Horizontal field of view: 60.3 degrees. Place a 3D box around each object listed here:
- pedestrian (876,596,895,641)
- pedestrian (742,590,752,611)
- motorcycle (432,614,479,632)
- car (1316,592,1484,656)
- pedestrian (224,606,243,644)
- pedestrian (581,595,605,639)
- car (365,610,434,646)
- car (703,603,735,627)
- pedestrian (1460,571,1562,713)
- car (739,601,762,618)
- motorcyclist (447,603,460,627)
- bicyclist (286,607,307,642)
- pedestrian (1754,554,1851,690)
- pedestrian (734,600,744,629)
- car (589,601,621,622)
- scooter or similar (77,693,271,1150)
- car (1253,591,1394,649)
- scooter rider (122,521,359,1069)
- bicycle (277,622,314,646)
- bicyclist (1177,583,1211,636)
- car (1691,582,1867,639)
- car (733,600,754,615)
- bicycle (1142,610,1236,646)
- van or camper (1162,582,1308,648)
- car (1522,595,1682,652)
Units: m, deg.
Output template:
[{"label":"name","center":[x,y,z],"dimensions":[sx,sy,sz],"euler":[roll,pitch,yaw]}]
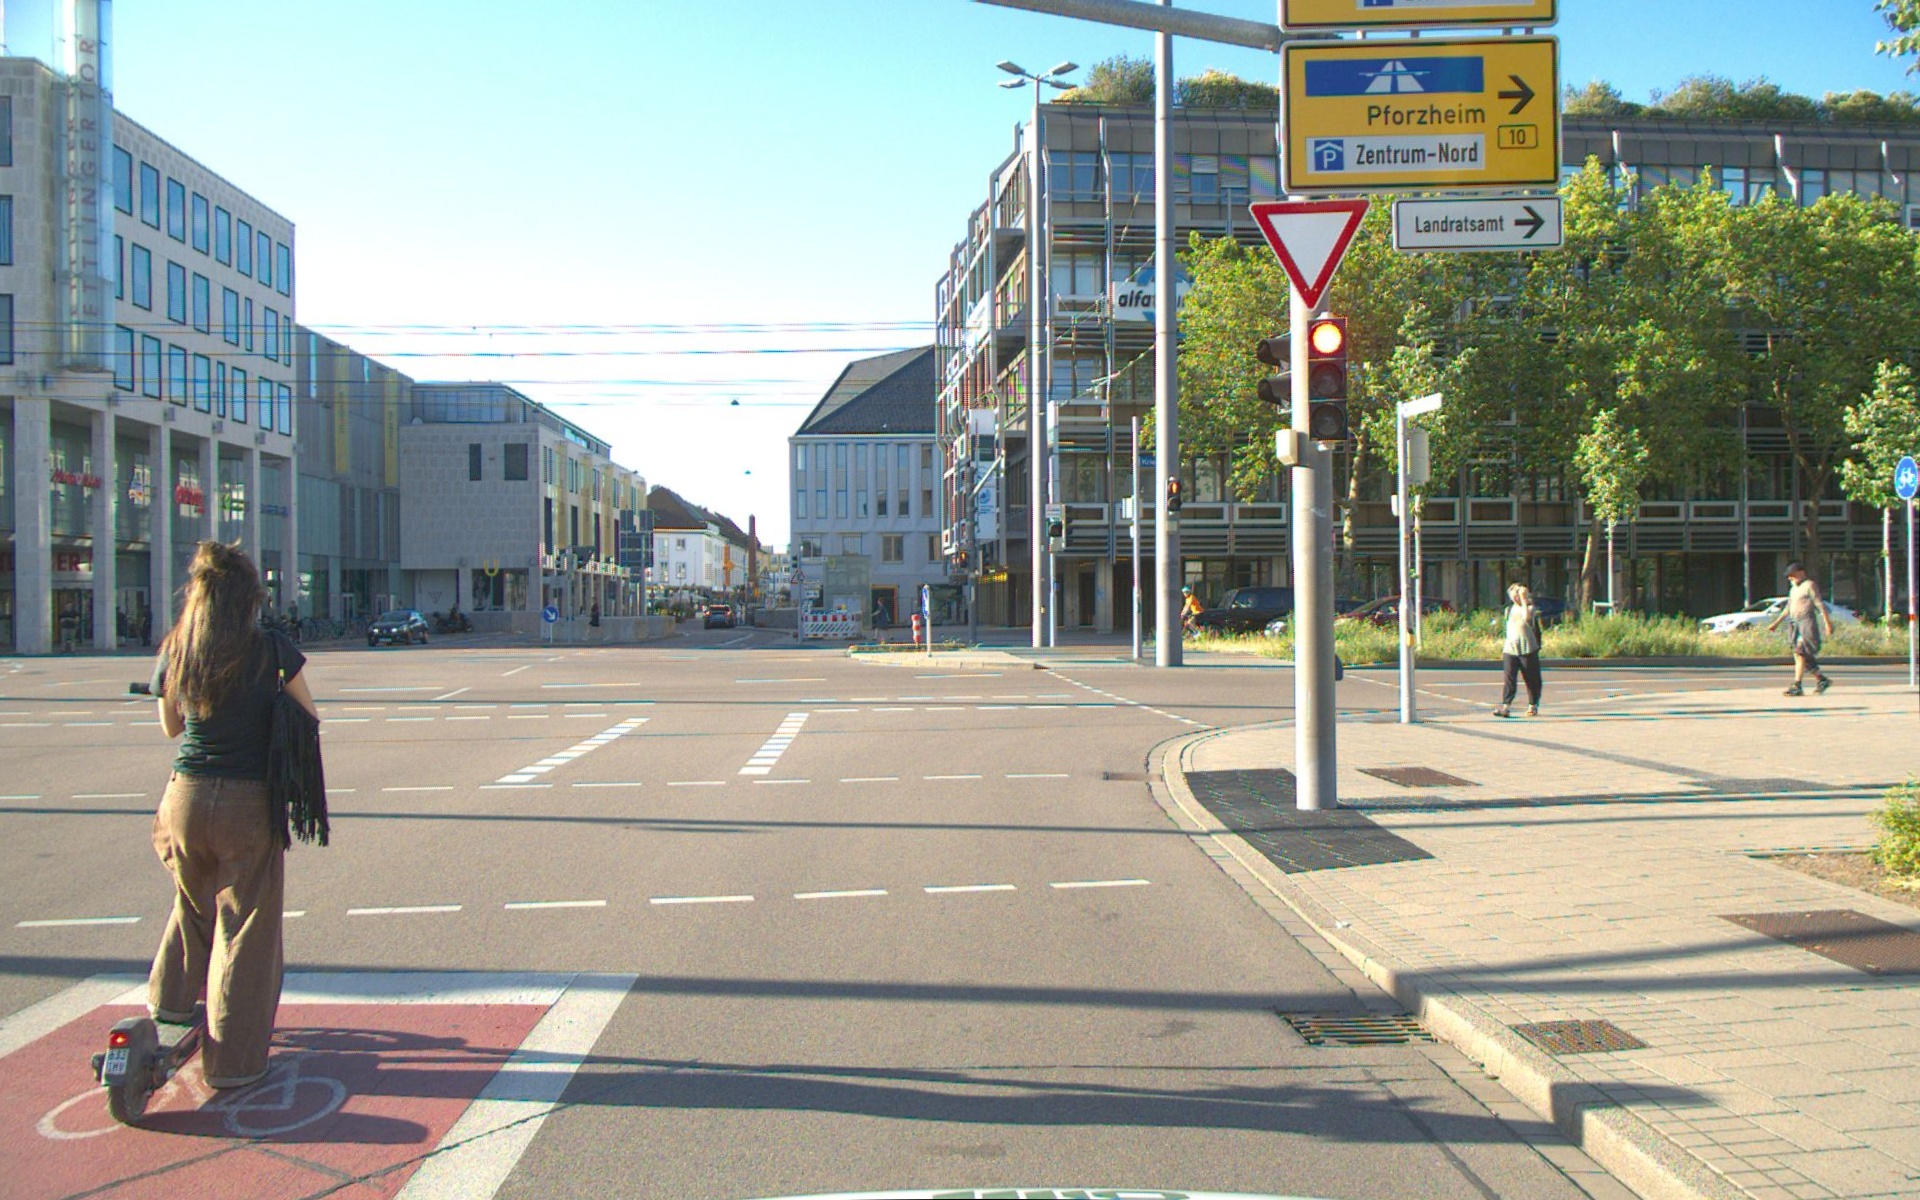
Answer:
[{"label":"pedestrian","center":[-2.893,0.712,64.468],"dimensions":[0.685,1.718,0.619],"euler":[-1,0,0]},{"label":"pedestrian","center":[-21.147,0.047,164.364],"dimensions":[0.892,1.999,0.822],"euler":[1,-1,-1]},{"label":"motorcycle","center":[-29.795,1.344,97.710],"dimensions":[2.555,1.010,1.113],"euler":[1,0,-10]},{"label":"car","center":[12.376,0.644,46.603],"dimensions":[4.212,1.713,1.820],"euler":[-1,0,-11]},{"label":"pedestrian","center":[-32.690,1.119,74.451],"dimensions":[0.580,1.674,0.629],"euler":[-1,0,-1]},{"label":"pedestrian","center":[-14.151,0.641,63.780],"dimensions":[0.760,1.667,0.626],"euler":[-1,0,2]},{"label":"car","center":[-23.501,1.148,69.463],"dimensions":[1.642,1.381,4.019],"euler":[-1,0,-2]},{"label":"car","center":[-15.695,0.960,107.825],"dimensions":[1.625,1.484,3.541],"euler":[-1,0,-1]},{"label":"pedestrian","center":[6.558,0.483,19.686],"dimensions":[0.860,1.642,0.762],"euler":[-1,0,-25]},{"label":"car","center":[-18.401,0.836,145.551],"dimensions":[1.625,1.484,3.541],"euler":[-1,0,-1]},{"label":"motorcyclist","center":[-29.972,0.890,97.903],"dimensions":[0.616,1.430,0.661],"euler":[1,-1,-9]},{"label":"bicyclist","center":[-27.630,1.020,68.884],"dimensions":[0.613,1.473,0.589],"euler":[-1,0,0]},{"label":"pedestrian","center":[11.021,0.278,21.659],"dimensions":[0.854,1.736,0.768],"euler":[-1,0,-3]},{"label":"pedestrian","center":[-13.293,0.878,99.504],"dimensions":[0.481,1.693,0.529],"euler":[1,-1,-15]},{"label":"car","center":[-26.115,0.845,121.814],"dimensions":[1.625,1.484,3.541],"euler":[-1,0,-1]},{"label":"scooter or similar","center":[-2.217,0.857,4.719],"dimensions":[0.301,1.127,0.836],"euler":[-1,0,-12]},{"label":"car","center":[11.147,0.589,50.856],"dimensions":[3.907,1.713,1.761],"euler":[-1,0,-2]},{"label":"scooter rider","center":[-2.144,0.552,4.972],"dimensions":[0.542,1.556,0.448],"euler":[-1,0,-9]},{"label":"bicycle","center":[-27.608,1.417,68.711],"dimensions":[0.622,0.919,2.218],"euler":[-1,0,0]},{"label":"bicyclist","center":[6.681,0.274,47.225],"dimensions":[0.806,1.500,0.652],"euler":[-1,0,-5]},{"label":"car","center":[25.944,0.331,52.491],"dimensions":[4.749,1.713,1.824],"euler":[-1,0,-4]},{"label":"car","center":[-21.664,0.725,165.765],"dimensions":[1.625,1.484,3.541],"euler":[-1,0,-1]},{"label":"bicycle","center":[6.526,0.793,47.204],"dimensions":[2.517,0.992,1.047],"euler":[-1,0,-4]},{"label":"van or camper","center":[8.948,0.479,54.051],"dimensions":[4.329,2.049,1.993],"euler":[-1,0,-5]},{"label":"car","center":[20.141,0.729,51.985],"dimensions":[4.317,1.713,1.824],"euler":[-1,0,-4]}]
